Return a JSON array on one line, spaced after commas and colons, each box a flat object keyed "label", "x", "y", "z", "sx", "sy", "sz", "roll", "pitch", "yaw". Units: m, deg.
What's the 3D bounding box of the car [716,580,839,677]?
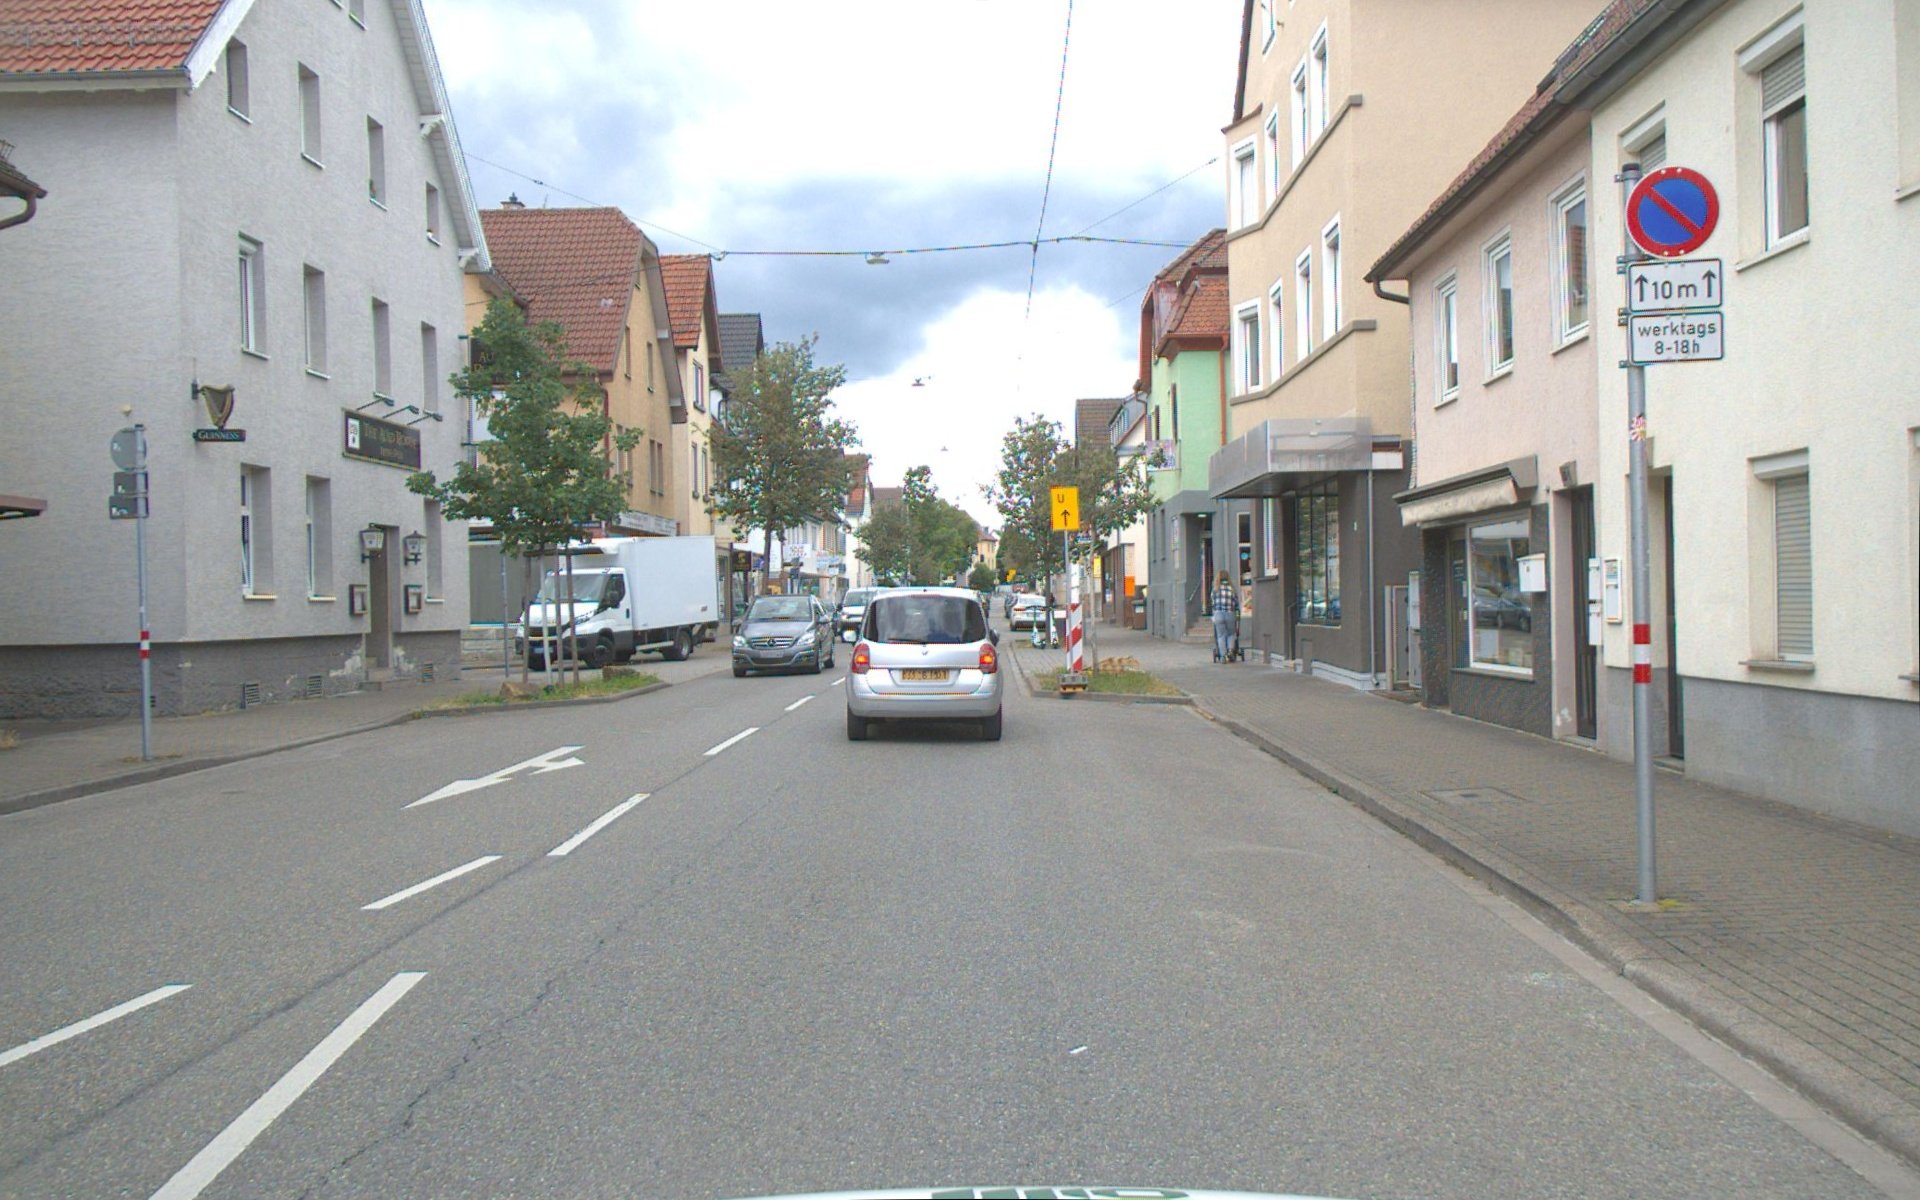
[{"label": "car", "x": -3.690, "y": 0.558, "z": 34.215, "sx": 1.952, "sy": 1.827, "sz": 4.278, "roll": -1, "pitch": 0, "yaw": 1}]

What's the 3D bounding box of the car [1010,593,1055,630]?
[{"label": "car", "x": 2.983, "y": 0.470, "z": 68.437, "sx": 1.793, "sy": 1.471, "sz": 4.332, "roll": 1, "pitch": 0, "yaw": 2}]

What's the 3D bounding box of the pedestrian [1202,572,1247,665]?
[{"label": "pedestrian", "x": 5.091, "y": 0.347, "z": 31.830, "sx": 0.735, "sy": 1.750, "sz": 0.900, "roll": 0, "pitch": 0, "yaw": 1}]

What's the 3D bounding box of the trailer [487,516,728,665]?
[{"label": "trailer", "x": -8.337, "y": -0.208, "z": 40.197, "sx": 2.451, "sy": 3.276, "sz": 7.138, "roll": 0, "pitch": 0, "yaw": 18}]

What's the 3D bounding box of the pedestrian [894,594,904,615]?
[{"label": "pedestrian", "x": -5.305, "y": 0.370, "z": 143.668, "sx": 0.747, "sy": 1.823, "sz": 0.890, "roll": 0, "pitch": 0, "yaw": 1}]

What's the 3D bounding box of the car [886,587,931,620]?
[{"label": "car", "x": -2.415, "y": 0.167, "z": 78.343, "sx": 1.804, "sy": 1.458, "sz": 4.544, "roll": -2, "pitch": 0, "yaw": 2}]

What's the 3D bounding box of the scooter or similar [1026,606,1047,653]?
[{"label": "scooter or similar", "x": 2.107, "y": 0.807, "z": 45.555, "sx": 0.491, "sy": 1.257, "sz": 1.942, "roll": 0, "pitch": 0, "yaw": 1}]

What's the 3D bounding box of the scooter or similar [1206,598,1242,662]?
[{"label": "scooter or similar", "x": 5.219, "y": 0.582, "z": 32.776, "sx": 0.577, "sy": 1.254, "sz": 0.891, "roll": 0, "pitch": 0, "yaw": 1}]

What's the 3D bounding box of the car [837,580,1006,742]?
[{"label": "car", "x": -0.333, "y": 0.611, "z": 18.557, "sx": 1.647, "sy": 1.593, "sz": 3.994, "roll": 1, "pitch": 0, "yaw": 2}]

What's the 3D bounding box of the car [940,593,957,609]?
[{"label": "car", "x": -1.344, "y": 0.161, "z": 195.173, "sx": 1.861, "sy": 1.768, "sz": 4.367, "roll": -2, "pitch": 0, "yaw": 2}]

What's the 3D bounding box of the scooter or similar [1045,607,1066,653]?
[{"label": "scooter or similar", "x": 2.630, "y": 0.811, "z": 45.544, "sx": 0.491, "sy": 1.257, "sz": 1.942, "roll": 0, "pitch": 0, "yaw": 1}]
